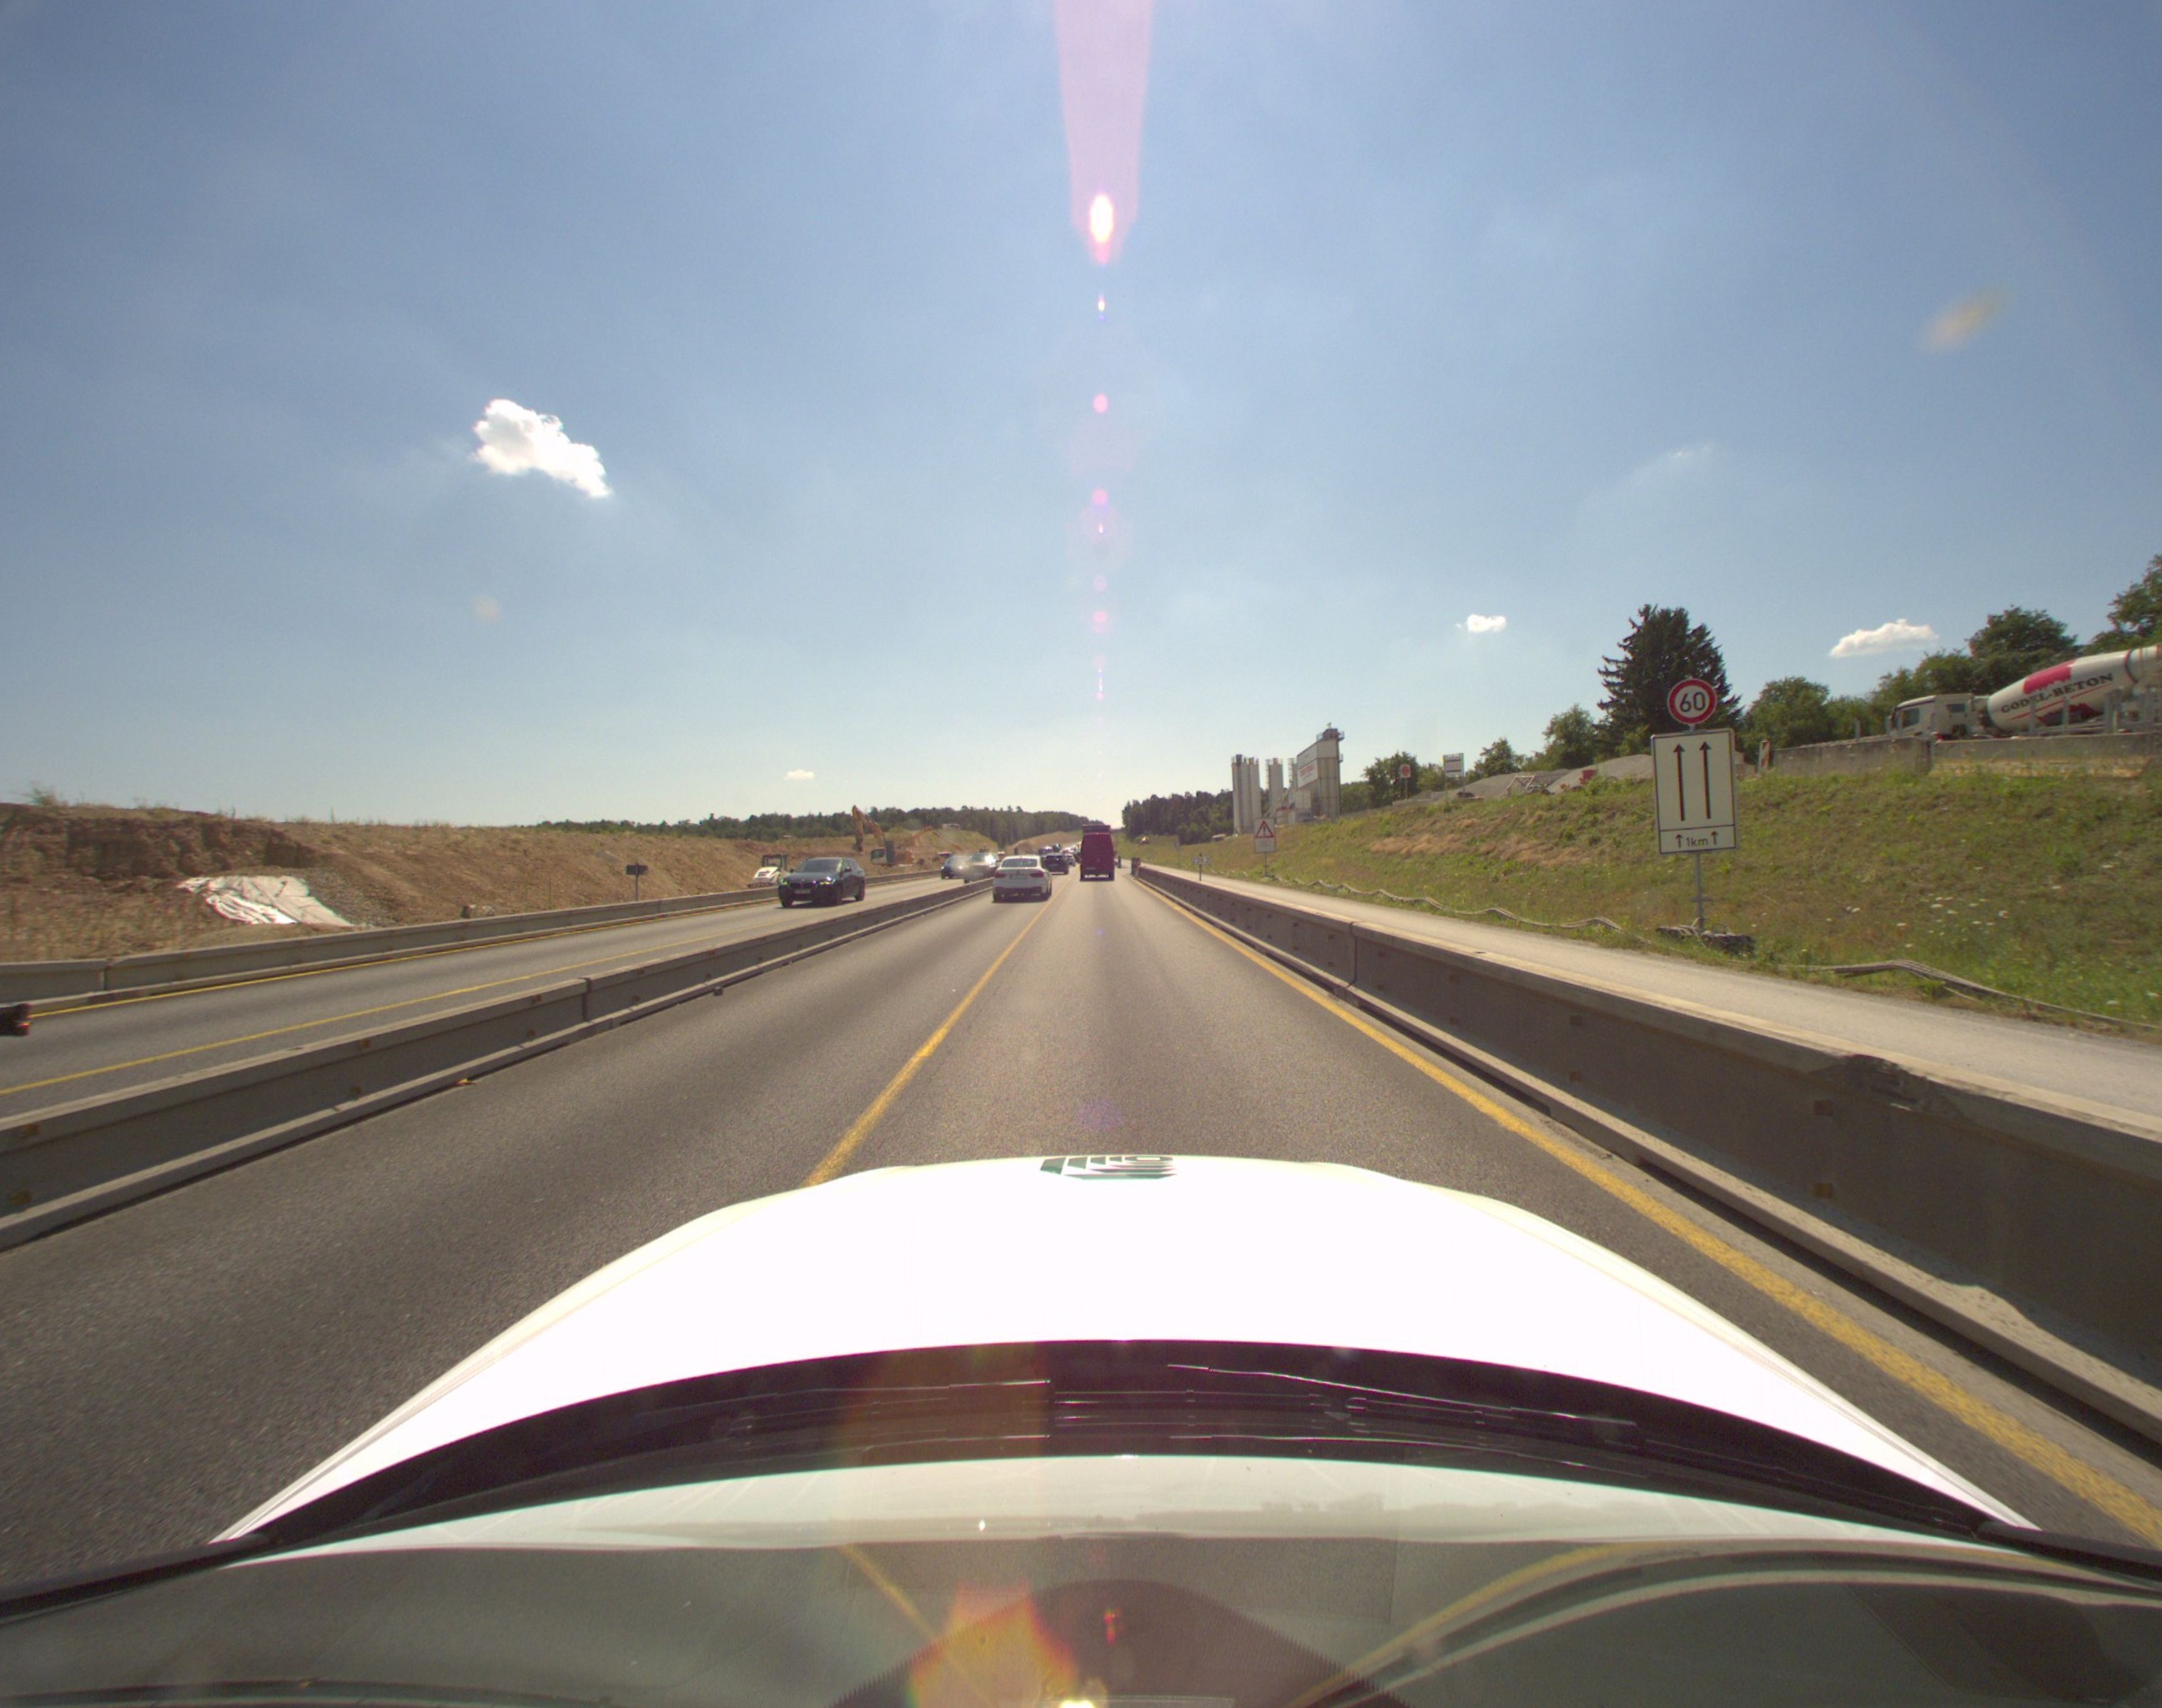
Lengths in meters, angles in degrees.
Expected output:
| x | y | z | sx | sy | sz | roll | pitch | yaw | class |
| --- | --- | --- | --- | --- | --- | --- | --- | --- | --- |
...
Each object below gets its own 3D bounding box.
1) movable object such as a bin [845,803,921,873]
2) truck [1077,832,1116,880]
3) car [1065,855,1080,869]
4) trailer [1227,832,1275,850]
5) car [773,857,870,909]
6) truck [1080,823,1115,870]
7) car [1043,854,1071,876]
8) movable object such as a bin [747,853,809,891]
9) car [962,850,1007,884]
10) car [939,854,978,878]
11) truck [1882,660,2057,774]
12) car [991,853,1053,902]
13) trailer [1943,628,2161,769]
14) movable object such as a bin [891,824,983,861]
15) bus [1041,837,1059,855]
| x | y | z | sx | sy | sz | roll | pitch | yaw | class |
| --- | --- | --- | --- | --- | --- | --- | --- | --- | --- |
| -22.835 | -1.770 | 94.187 | 7.607 | 7.713 | 3.447 | -2 | 0 | 2 | movable object such as a bin |
| 0.934 | 0.110 | 48.426 | 2.104 | 2.633 | 6.486 | -2 | 0 | 1 | truck |
| -1.217 | 1.195 | 122.083 | 1.986 | 2.013 | 4.001 | -2 | 0 | 1 | car |
| 34.528 | -2.682 | 165.728 | 9.009 | 3.229 | 3.315 | -2 | 0 | -14 | trailer |
| -8.497 | 0.895 | 27.053 | 1.719 | 1.478 | 4.393 | -2 | 0 | 0 | car |
| 1.630 | -0.689 | 78.537 | 3.004 | 4.153 | 8.275 | -2 | 0 | 2 | truck |
| -1.750 | 0.783 | 60.635 | 1.788 | 1.534 | 3.932 | -2 | 0 | 1 | car |
| -21.351 | 1.186 | 57.714 | 1.696 | 2.461 | 6.745 | -2 | 0 | 1 | movable object such as a bin |
| -5.305 | 0.689 | 45.209 | 1.765 | 1.741 | 5.039 | -2 | 0 | 1 | car |
| -8.211 | 0.750 | 54.895 | 1.854 | 1.501 | 4.577 | -2 | 0 | 1 | car |
| 37.225 | -5.643 | 34.285 | 2.743 | 4.095 | 4.089 | -2 | 0 | -8 | truck |
| -1.970 | 0.755 | 28.583 | 1.789 | 1.534 | 5.072 | -1 | 0 | 0 | car |
| 37.696 | -5.656 | 30.704 | 2.754 | 4.114 | 6.727 | -2 | 0 | -8 | trailer |
| -30.440 | -2.403 | 173.235 | 18.659 | 7.231 | 3.614 | -2 | 0 | -2 | movable object such as a bin |
| -7.865 | -1.937 | 210.579 | 3.930 | 4.415 | 17.198 | -2 | 0 | 0 | bus |
